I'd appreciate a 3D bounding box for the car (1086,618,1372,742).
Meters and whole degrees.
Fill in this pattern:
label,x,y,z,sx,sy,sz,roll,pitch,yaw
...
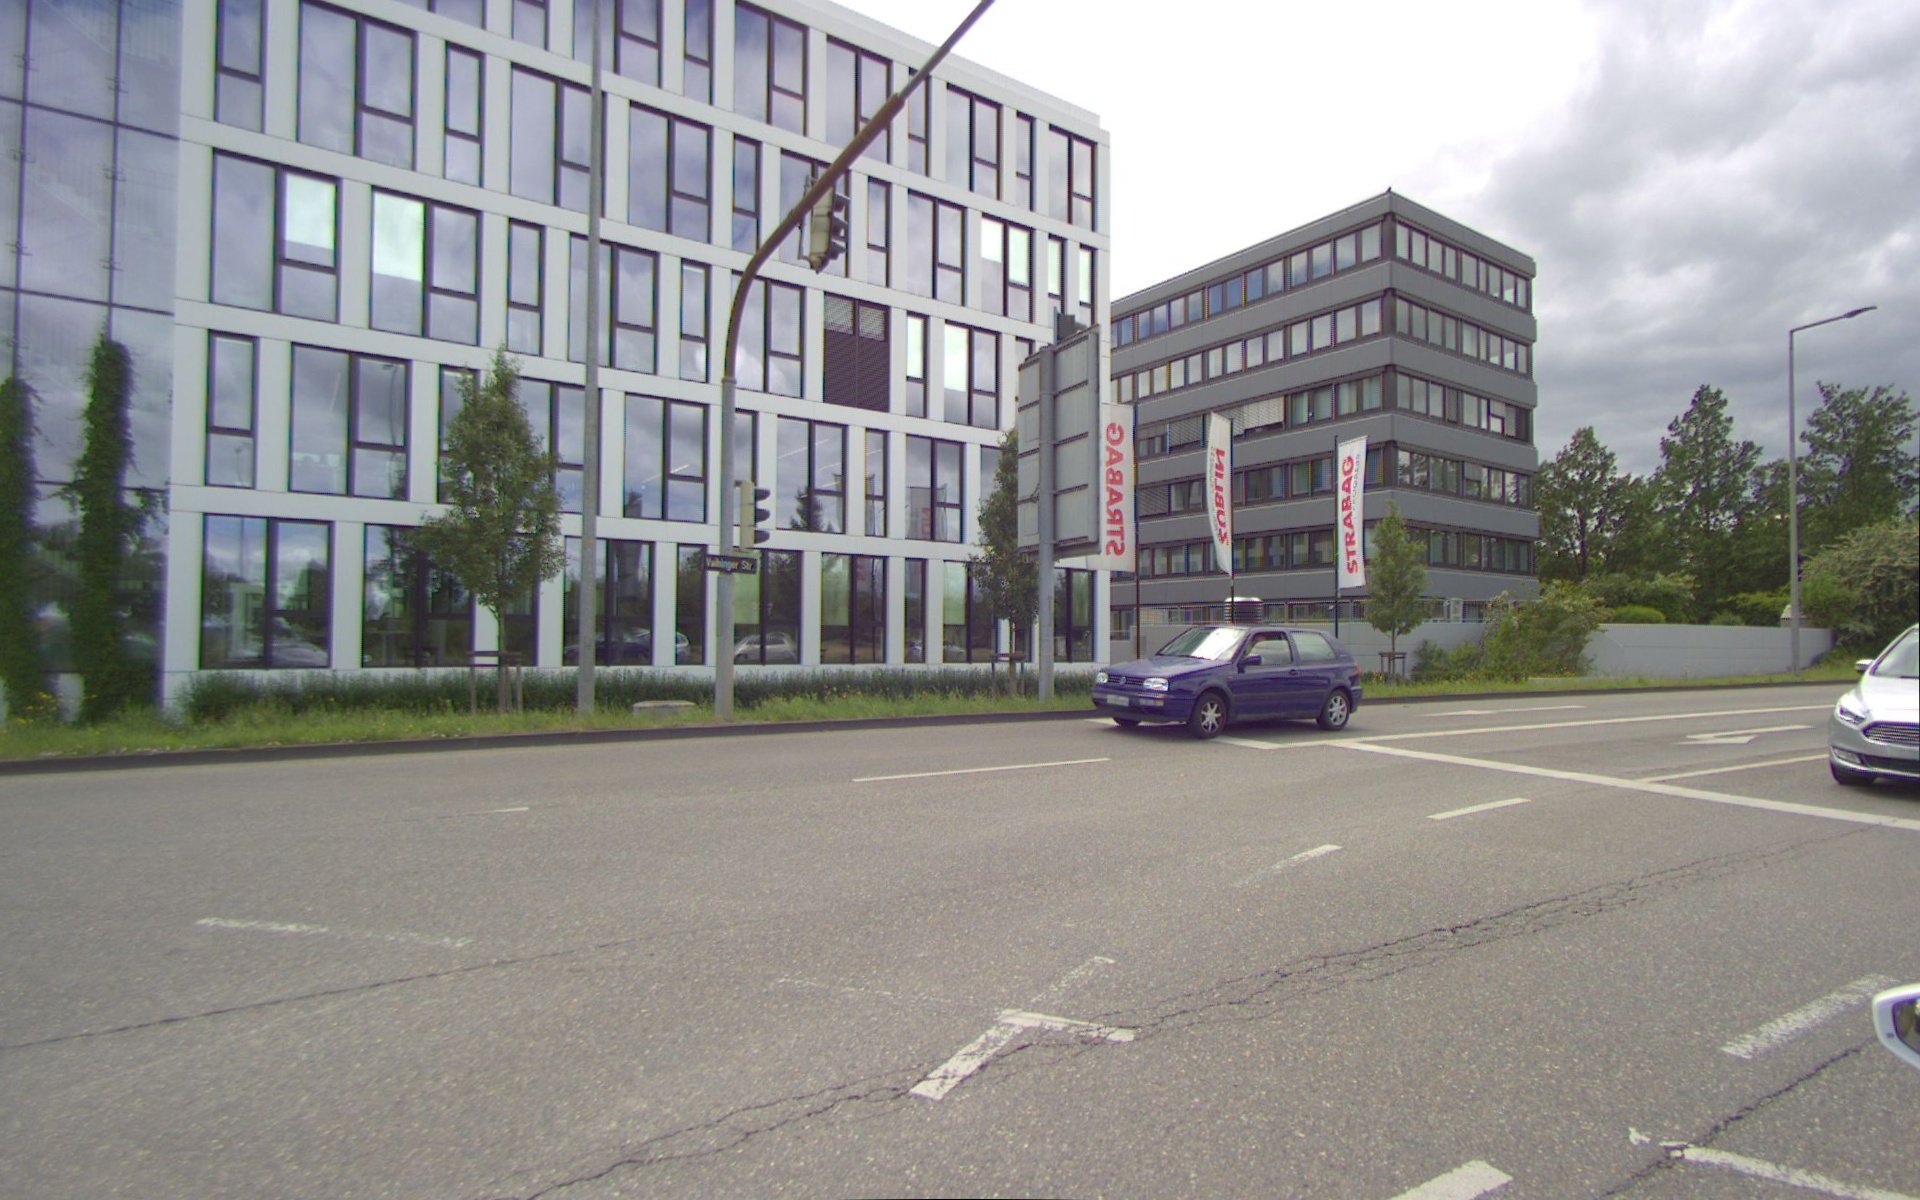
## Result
label,x,y,z,sx,sy,sz,roll,pitch,yaw
car,3.688,0.994,13.589,3.853,1.438,1.545,1,0,-32

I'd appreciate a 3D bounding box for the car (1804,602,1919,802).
label,x,y,z,sx,sy,sz,roll,pitch,yaw
car,10.268,0.923,9.812,4.594,1.709,1.810,1,0,-33
